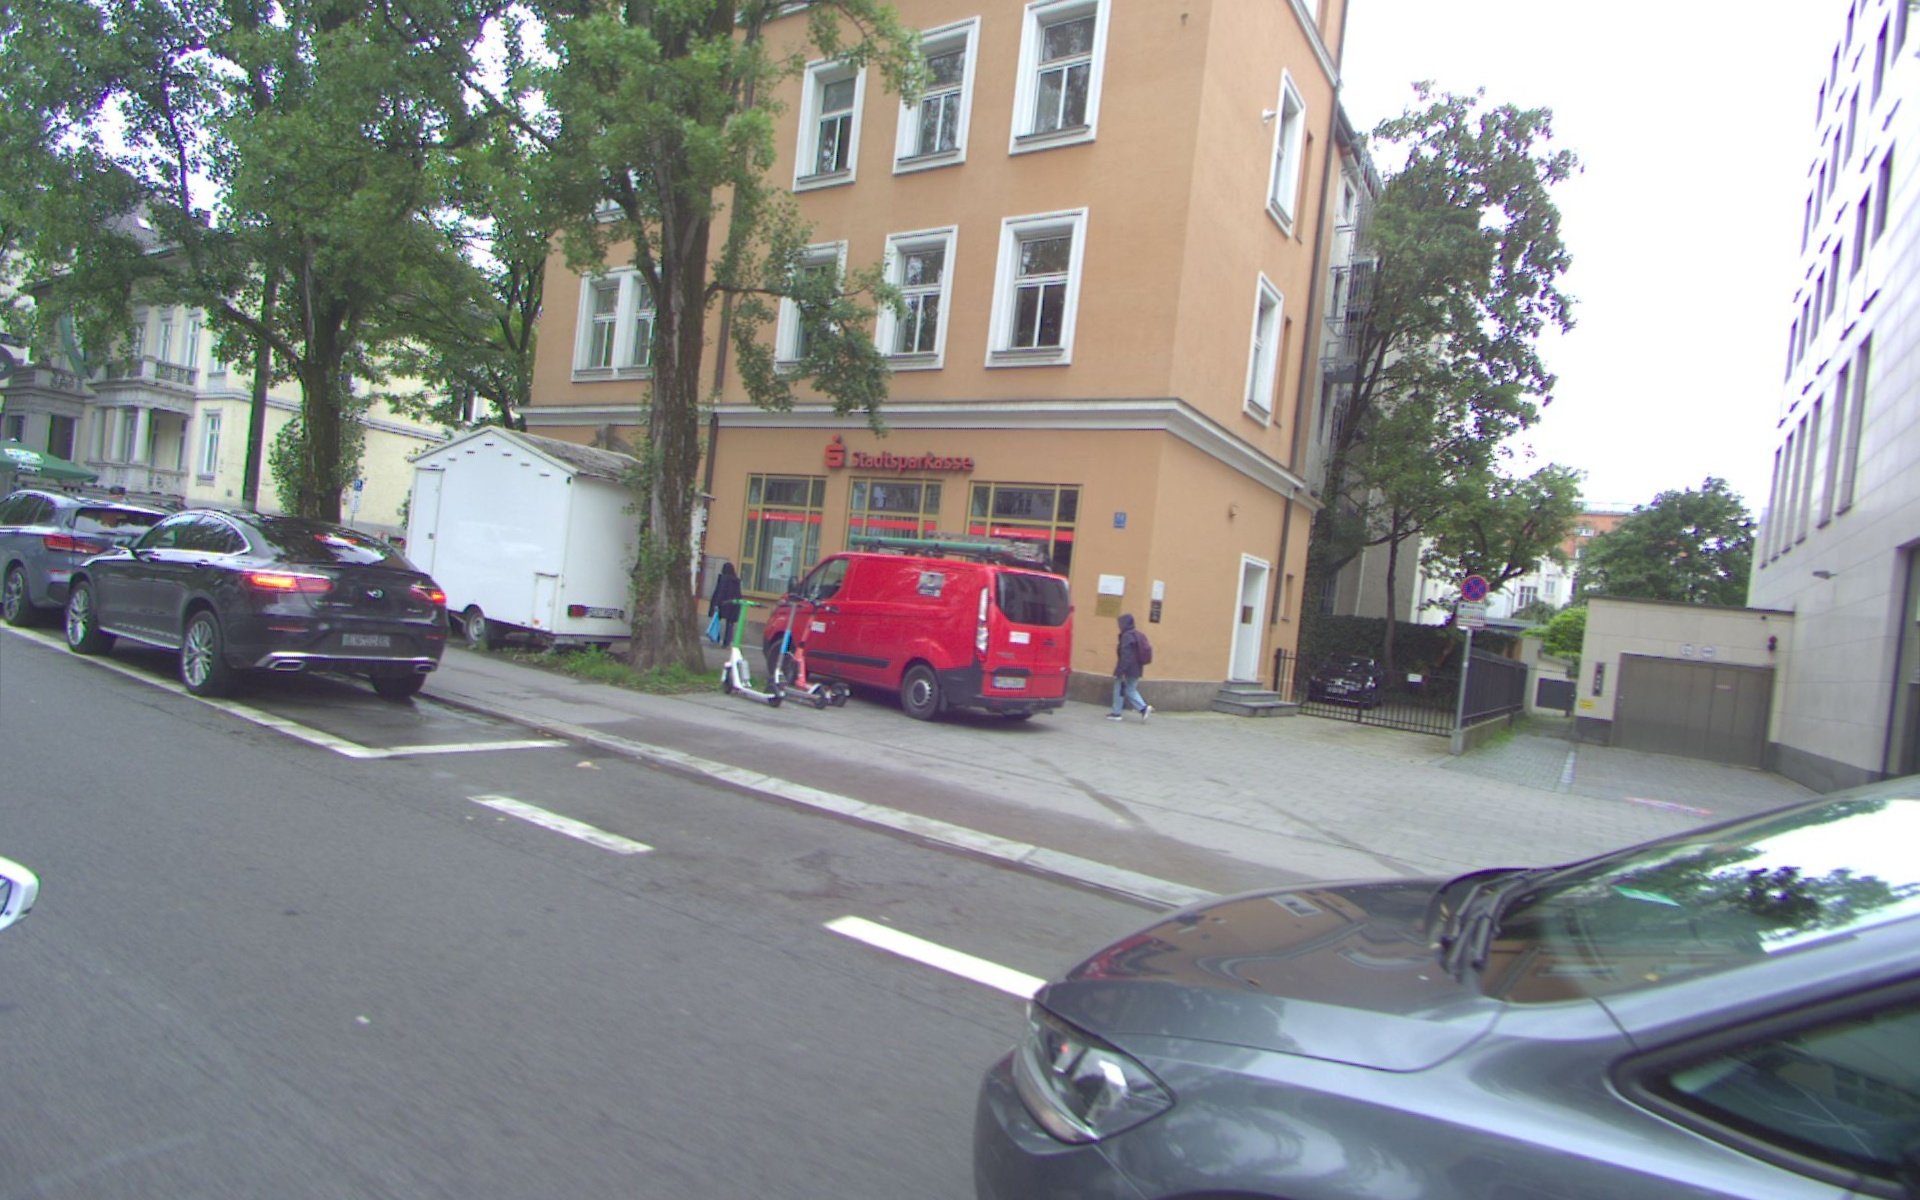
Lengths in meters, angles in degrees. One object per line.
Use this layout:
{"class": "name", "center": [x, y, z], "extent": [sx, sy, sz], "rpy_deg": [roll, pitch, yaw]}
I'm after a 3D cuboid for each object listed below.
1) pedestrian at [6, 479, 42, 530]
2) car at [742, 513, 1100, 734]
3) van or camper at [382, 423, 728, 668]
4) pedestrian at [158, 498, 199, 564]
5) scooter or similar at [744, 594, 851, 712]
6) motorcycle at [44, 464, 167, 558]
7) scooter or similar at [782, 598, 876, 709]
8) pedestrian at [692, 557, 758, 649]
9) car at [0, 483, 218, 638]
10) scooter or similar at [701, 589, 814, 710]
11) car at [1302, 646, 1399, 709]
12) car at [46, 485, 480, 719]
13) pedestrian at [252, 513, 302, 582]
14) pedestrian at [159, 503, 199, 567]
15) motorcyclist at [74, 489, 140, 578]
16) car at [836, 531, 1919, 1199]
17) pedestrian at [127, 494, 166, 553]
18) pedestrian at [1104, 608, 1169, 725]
{"class": "pedestrian", "center": [-37.498, -3.818, 40.287], "extent": [0.727, 1.877, 0.761], "rpy_deg": [7, 1, 30]}
{"class": "car", "center": [-0.714, 0.187, 13.559], "extent": [4.762, 2.358, 1.895], "rpy_deg": [7, 1, 45]}
{"class": "van or camper", "center": [-6.213, -0.850, 15.286], "extent": [4.639, 3.152, 2.461], "rpy_deg": [7, 1, 33]}
{"class": "pedestrian", "center": [-23.990, -2.121, 30.885], "extent": [0.755, 1.895, 0.700], "rpy_deg": [6, -1, 42]}
{"class": "scooter or similar", "center": [-1.995, 0.620, 12.250], "extent": [0.484, 1.249, 1.388], "rpy_deg": [3, 3, -44]}
{"class": "motorcycle", "center": [-14.723, -1.534, 17.324], "extent": [2.214, 1.388, 0.827], "rpy_deg": [7, 2, 29]}
{"class": "scooter or similar", "center": [-1.657, 0.653, 12.618], "extent": [0.484, 1.249, 1.153], "rpy_deg": [3, 3, -44]}
{"class": "pedestrian", "center": [-4.482, 0.060, 19.212], "extent": [0.792, 1.647, 0.730], "rpy_deg": [7, 2, 33]}
{"class": "car", "center": [-11.415, -0.590, 12.814], "extent": [4.299, 1.585, 1.625], "rpy_deg": [7, 1, 32]}
{"class": "scooter or similar", "center": [-2.431, 0.567, 11.960], "extent": [0.523, 1.249, 1.458], "rpy_deg": [3, 3, -44]}
{"class": "car", "center": [11.309, 2.217, 28.967], "extent": [1.724, 1.473, 4.119], "rpy_deg": [7, 0, 32]}
{"class": "car", "center": [-6.940, -0.063, 9.867], "extent": [4.509, 1.662, 1.881], "rpy_deg": [7, 1, 34]}
{"class": "pedestrian", "center": [-17.582, -1.349, 25.910], "extent": [0.763, 1.648, 0.687], "rpy_deg": [7, 1, 30]}
{"class": "pedestrian", "center": [-21.659, -1.805, 27.917], "extent": [0.663, 1.671, 0.621], "rpy_deg": [6, 1, -31]}
{"class": "motorcyclist", "center": [-14.689, -1.139, 17.323], "extent": [0.753, 1.425, 0.564], "rpy_deg": [7, 2, 29]}
{"class": "car", "center": [2.008, 0.959, 1.454], "extent": [4.115, 1.633, 1.763], "rpy_deg": [7, -1, 32]}
{"class": "pedestrian", "center": [-24.426, -2.295, 30.201], "extent": [0.755, 1.666, 0.647], "rpy_deg": [6, -1, 42]}
{"class": "pedestrian", "center": [2.539, 0.946, 14.547], "extent": [0.701, 1.571, 0.606], "rpy_deg": [6, 2, 5]}
